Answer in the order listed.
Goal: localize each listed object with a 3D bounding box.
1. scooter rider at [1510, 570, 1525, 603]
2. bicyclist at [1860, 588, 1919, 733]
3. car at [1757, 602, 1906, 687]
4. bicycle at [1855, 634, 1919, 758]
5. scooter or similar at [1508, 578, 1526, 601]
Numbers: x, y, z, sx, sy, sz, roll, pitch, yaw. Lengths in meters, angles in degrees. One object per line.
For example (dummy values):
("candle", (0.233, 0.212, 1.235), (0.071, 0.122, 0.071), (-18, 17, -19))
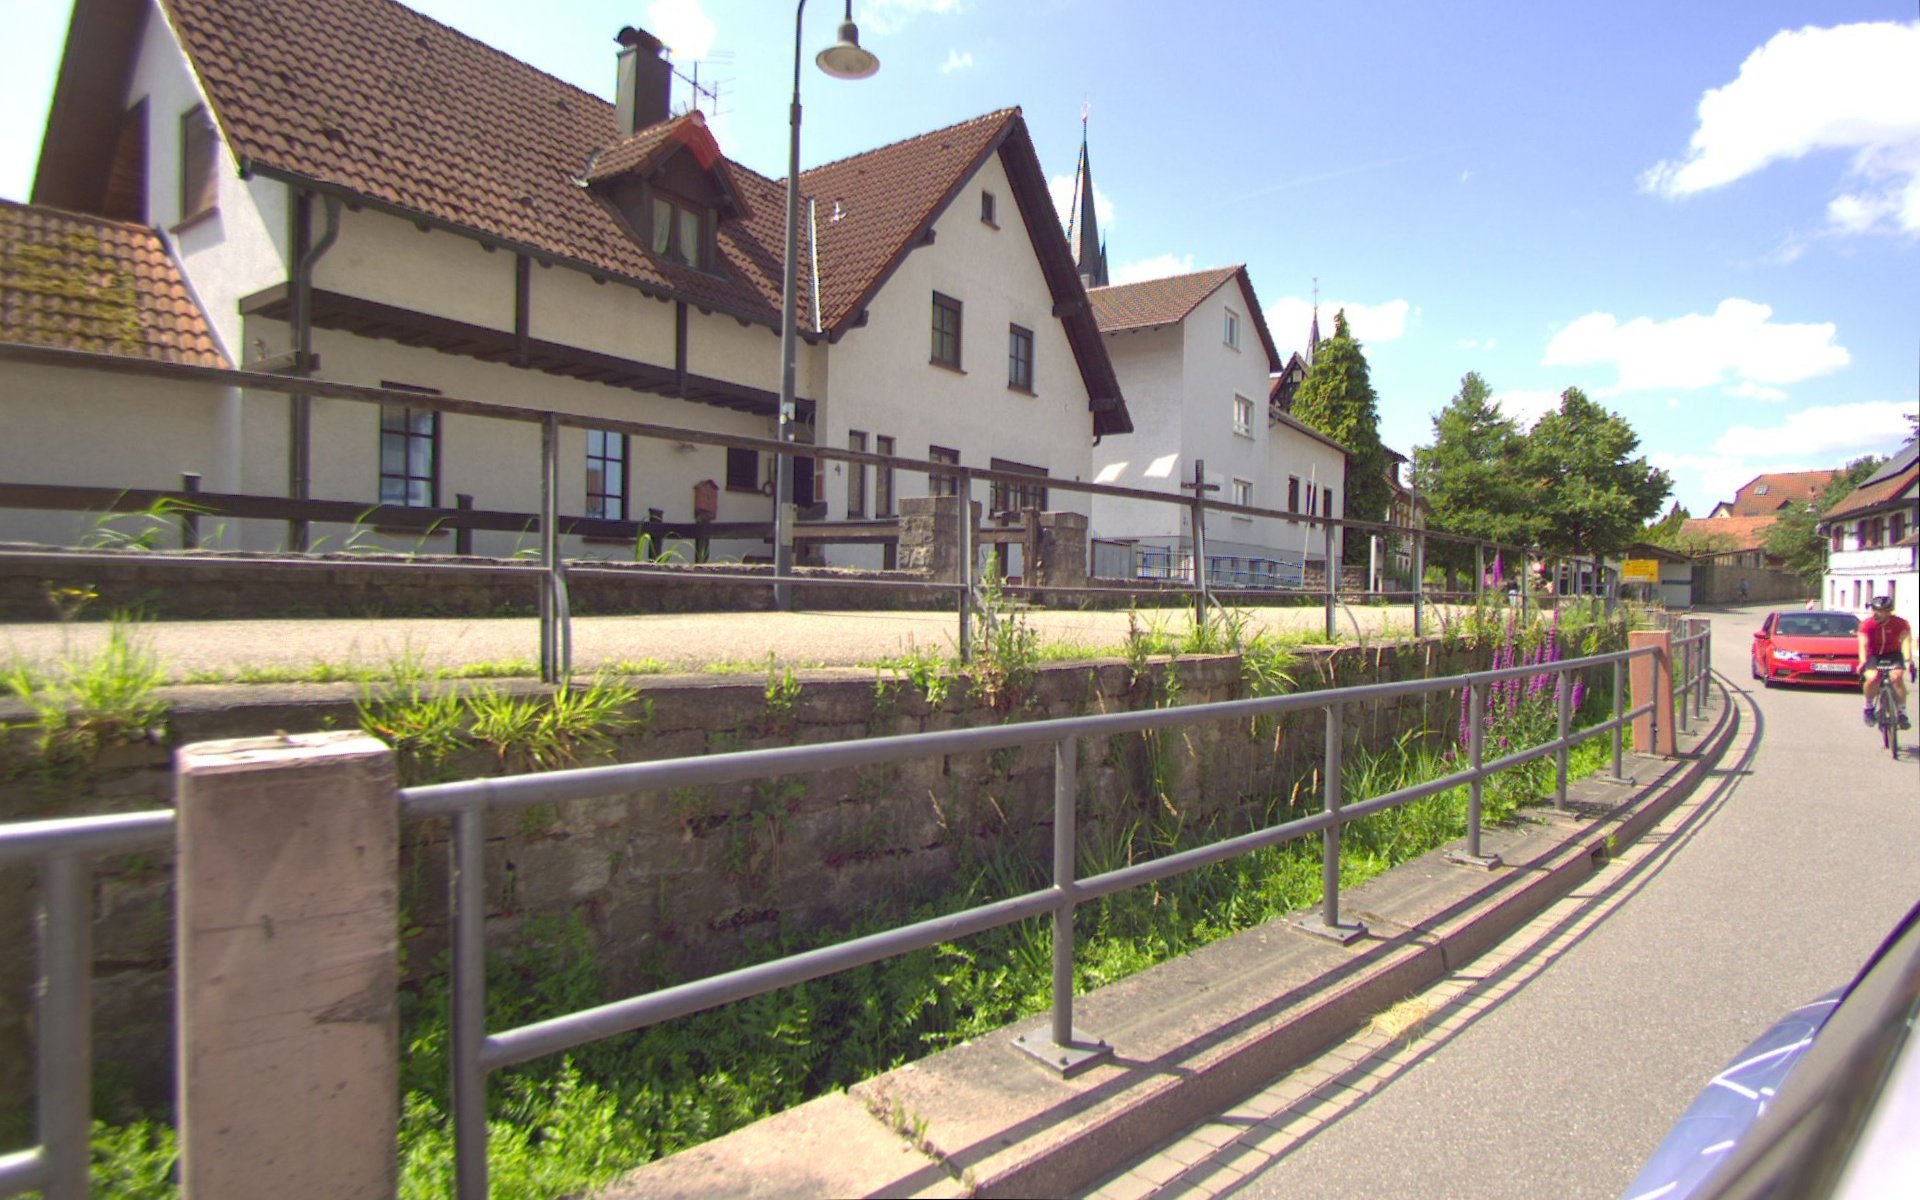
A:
("scooter rider", (29.959, -0.717, 54.389), (0.639, 1.753, 0.547), (0, 0, 35))
("bicyclist", (9.512, 0.590, 10.255), (0.743, 1.422, 0.531), (1, -1, -44))
("car", (15.848, 0.740, 18.566), (1.659, 1.369, 3.451), (-1, 0, 34))
("bicycle", (9.450, 0.914, 10.183), (2.020, 1.090, 0.530), (0, -1, -45))
("scooter or similar", (30.003, -0.573, 54.473), (0.639, 1.156, 1.789), (3, 2, 34))
